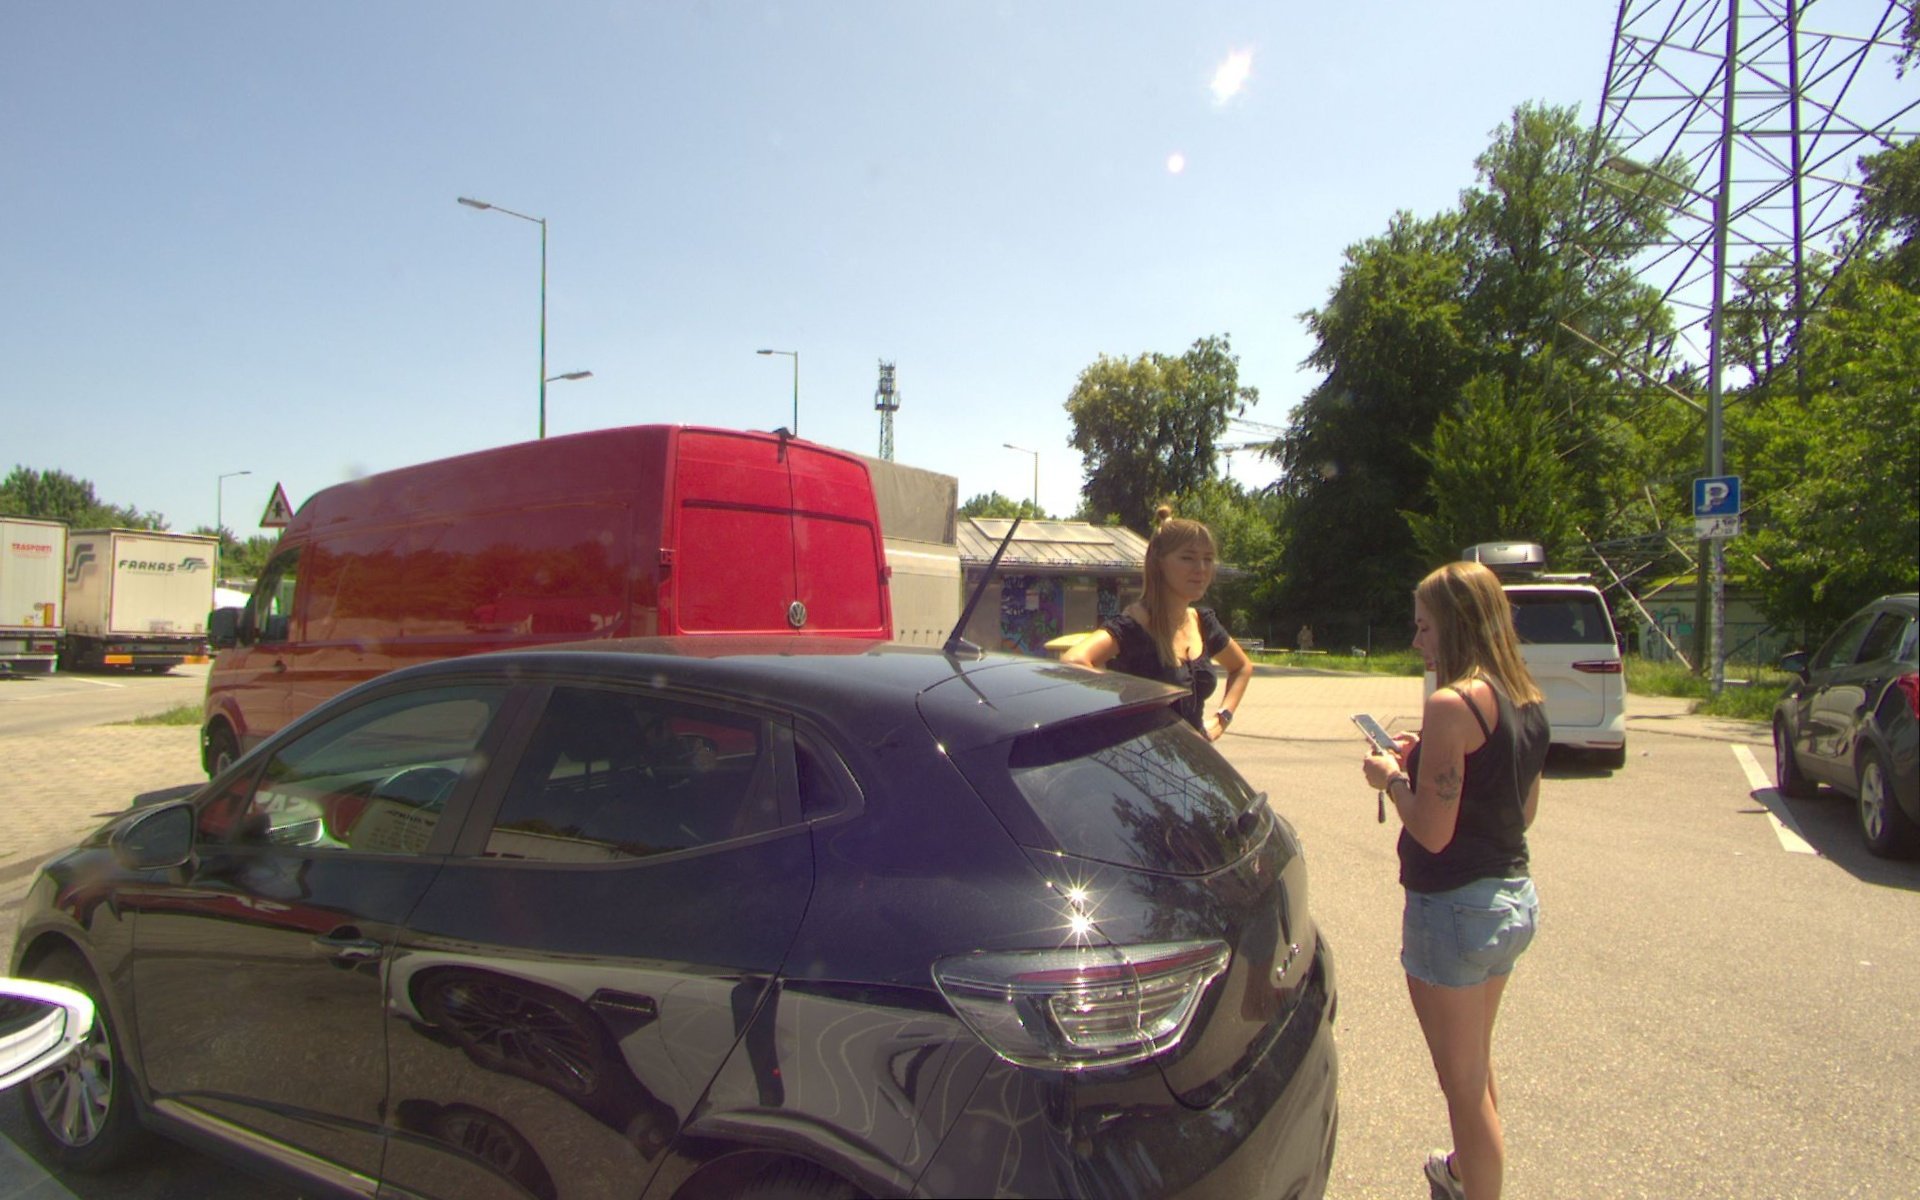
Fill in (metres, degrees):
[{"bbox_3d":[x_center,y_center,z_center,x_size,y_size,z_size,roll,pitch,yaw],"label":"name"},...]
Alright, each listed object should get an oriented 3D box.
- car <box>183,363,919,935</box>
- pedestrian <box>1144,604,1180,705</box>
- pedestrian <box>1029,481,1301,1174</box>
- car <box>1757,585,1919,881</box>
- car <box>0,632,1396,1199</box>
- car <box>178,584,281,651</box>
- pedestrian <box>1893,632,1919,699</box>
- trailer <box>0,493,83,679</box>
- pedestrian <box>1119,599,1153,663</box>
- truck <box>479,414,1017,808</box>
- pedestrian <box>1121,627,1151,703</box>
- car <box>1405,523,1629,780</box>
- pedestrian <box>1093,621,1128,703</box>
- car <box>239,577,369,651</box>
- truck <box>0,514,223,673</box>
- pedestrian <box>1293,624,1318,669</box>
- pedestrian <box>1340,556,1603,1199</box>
[{"bbox_3d":[-3.385,0.253,7.345,6.298,2.668,1.988,0,-1,36],"label":"car"},{"bbox_3d":[3.650,0.972,18.086,0.520,1.783,0.651,0,0,23],"label":"pedestrian"},{"bbox_3d":[0.688,0.631,3.232,0.481,1.884,0.906,0,-1,39],"label":"pedestrian"},{"bbox_3d":[7.067,0.795,6.922,1.811,1.638,4.150,0,-1,30],"label":"car"},{"bbox_3d":[-0.822,0.837,2.780,3.628,1.476,1.776,-1,-2,27],"label":"car"},{"bbox_3d":[-29.941,0.754,41.028,3.943,2.632,2.111,-1,-2,32],"label":"car"},{"bbox_3d":[17.233,1.152,17.800,0.694,1.178,0.787,-1,-1,22],"label":"pedestrian"},{"bbox_3d":[-28.541,-0.341,27.831,12.642,4.511,2.677,0,-1,32],"label":"trailer"},{"bbox_3d":[5.335,0.943,30.343,0.762,1.903,0.840,0,-1,-11],"label":"pedestrian"},{"bbox_3d":[-2.125,0.165,9.673,4.751,2.863,2.514,-1,-2,34],"label":"truck"},{"bbox_3d":[3.230,1.176,18.323,0.439,1.362,0.477,0,0,23],"label":"pedestrian"},{"bbox_3d":[6.622,0.539,11.995,1.901,2.401,4.954,1,-1,29],"label":"car"},{"bbox_3d":[2.797,1.137,18.574,0.521,1.478,0.576,0,0,23],"label":"pedestrian"},{"bbox_3d":[-29.471,0.601,44.945,6.259,3.114,2.495,0,-1,32],"label":"car"},{"bbox_3d":[-27.123,-0.024,31.215,11.800,4.279,2.582,-1,-2,32],"label":"truck"},{"bbox_3d":[15.927,2.128,46.150,0.955,2.039,0.829,0,-1,10],"label":"pedestrian"},{"bbox_3d":[1.168,0.727,2.304,0.478,1.615,0.501,0,0,29],"label":"pedestrian"}]
